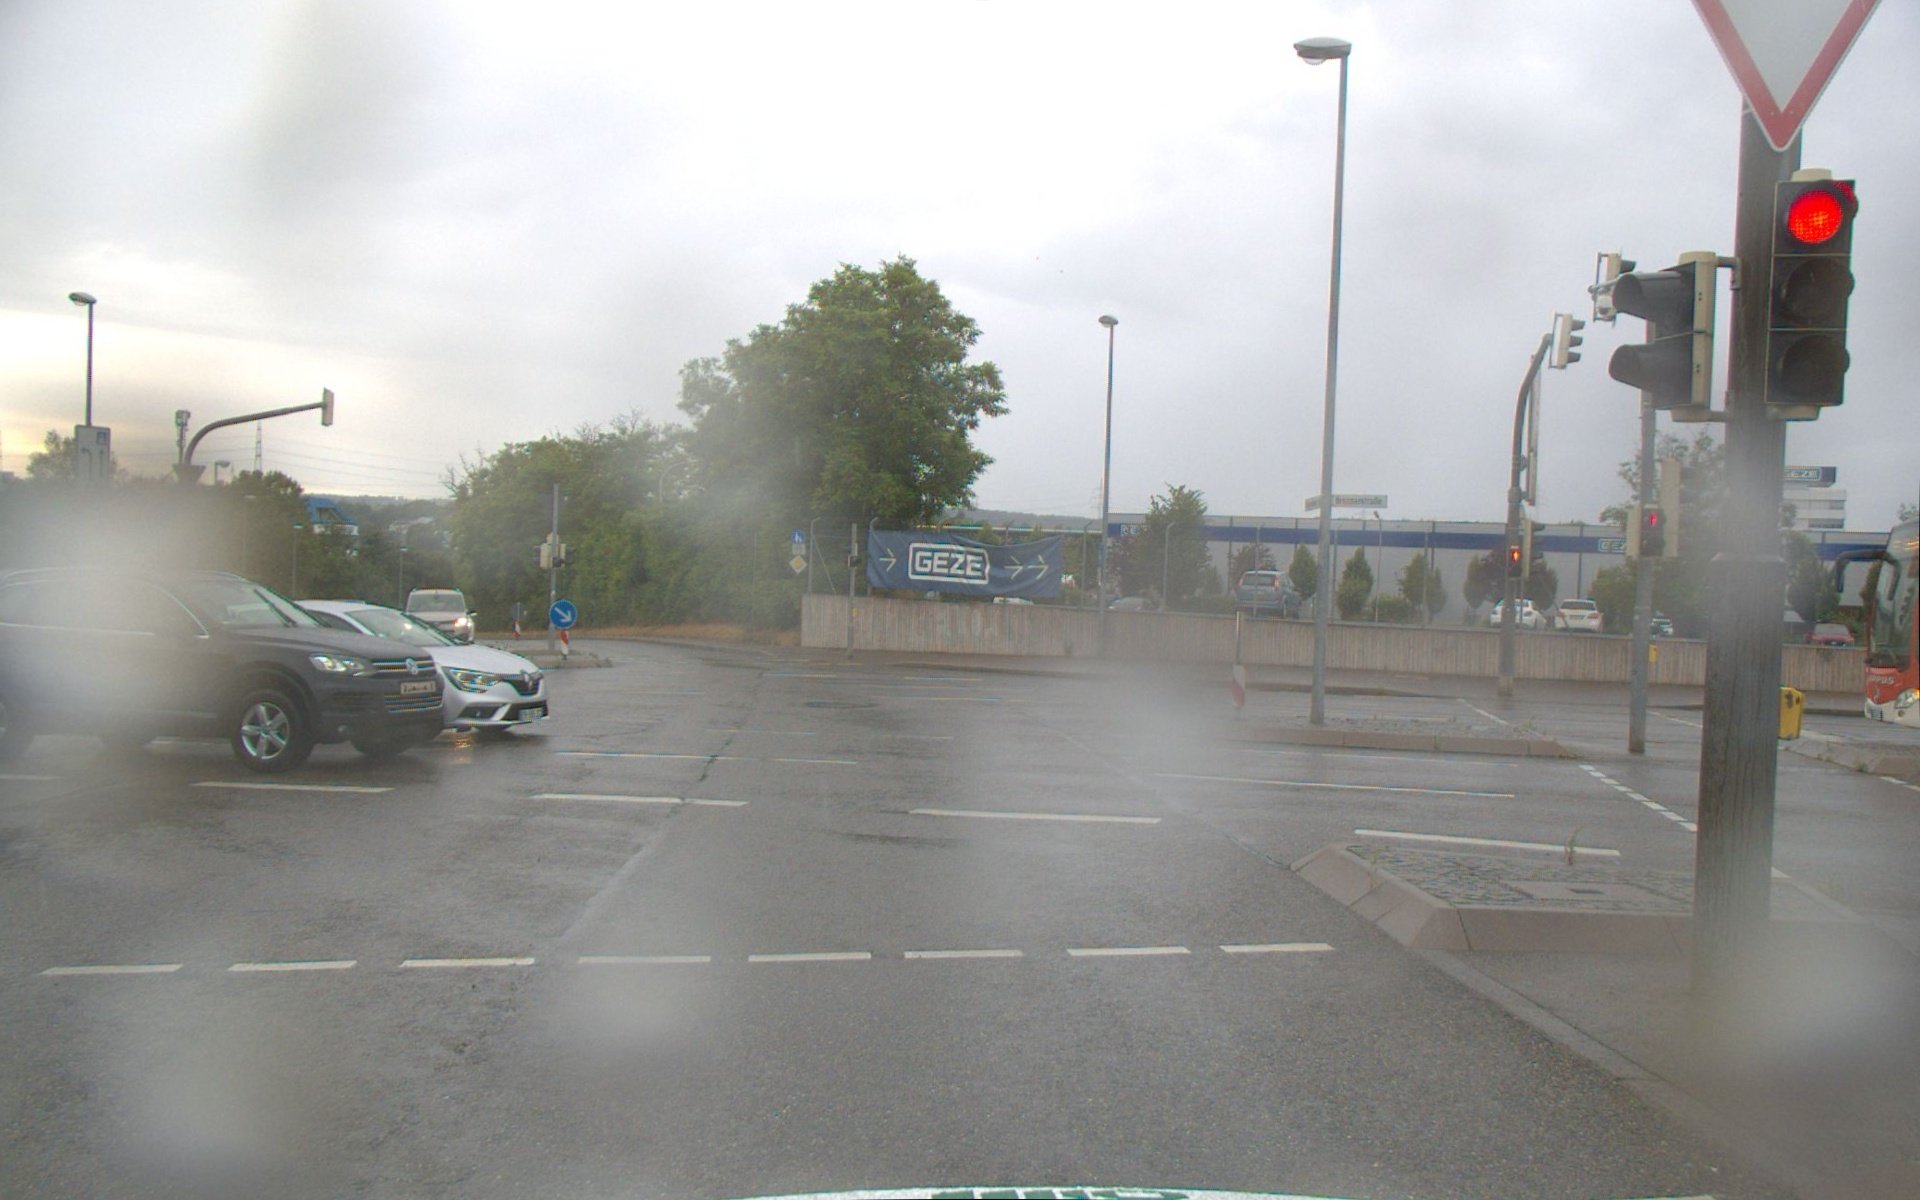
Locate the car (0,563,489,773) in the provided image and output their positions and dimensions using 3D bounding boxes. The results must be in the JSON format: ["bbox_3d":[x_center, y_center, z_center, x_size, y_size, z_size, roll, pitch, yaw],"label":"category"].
[{"bbox_3d":[-6.869,0.571,15.180,4.498,1.732,2.002,0,0,14],"label":"car"}]

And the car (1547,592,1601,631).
[{"bbox_3d":[25.242,0.466,68.090,1.952,1.504,4.001,2,0,19],"label":"car"}]

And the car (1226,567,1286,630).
[{"bbox_3d":[10.380,-0.055,57.873,1.951,2.049,4.003,1,0,11],"label":"car"}]

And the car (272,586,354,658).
[{"bbox_3d":[-18.642,0.601,47.772,1.963,1.928,3.979,1,0,-19],"label":"car"}]

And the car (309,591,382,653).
[{"bbox_3d":[-20.409,0.706,55.075,1.961,1.928,3.982,1,0,-16],"label":"car"}]

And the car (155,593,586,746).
[{"bbox_3d":[-6.420,0.699,18.184,4.051,1.441,1.929,2,0,14],"label":"car"}]

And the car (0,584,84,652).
[{"bbox_3d":[-28.529,0.521,50.989,1.962,1.928,3.981,1,0,-18],"label":"car"}]

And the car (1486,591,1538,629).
[{"bbox_3d":[22.945,0.397,68.679,1.952,1.504,4.001,2,0,19],"label":"car"}]

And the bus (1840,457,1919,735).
[{"bbox_3d":[17.645,0.217,19.851,12.020,3.379,3.076,3,1,17],"label":"bus"}]
